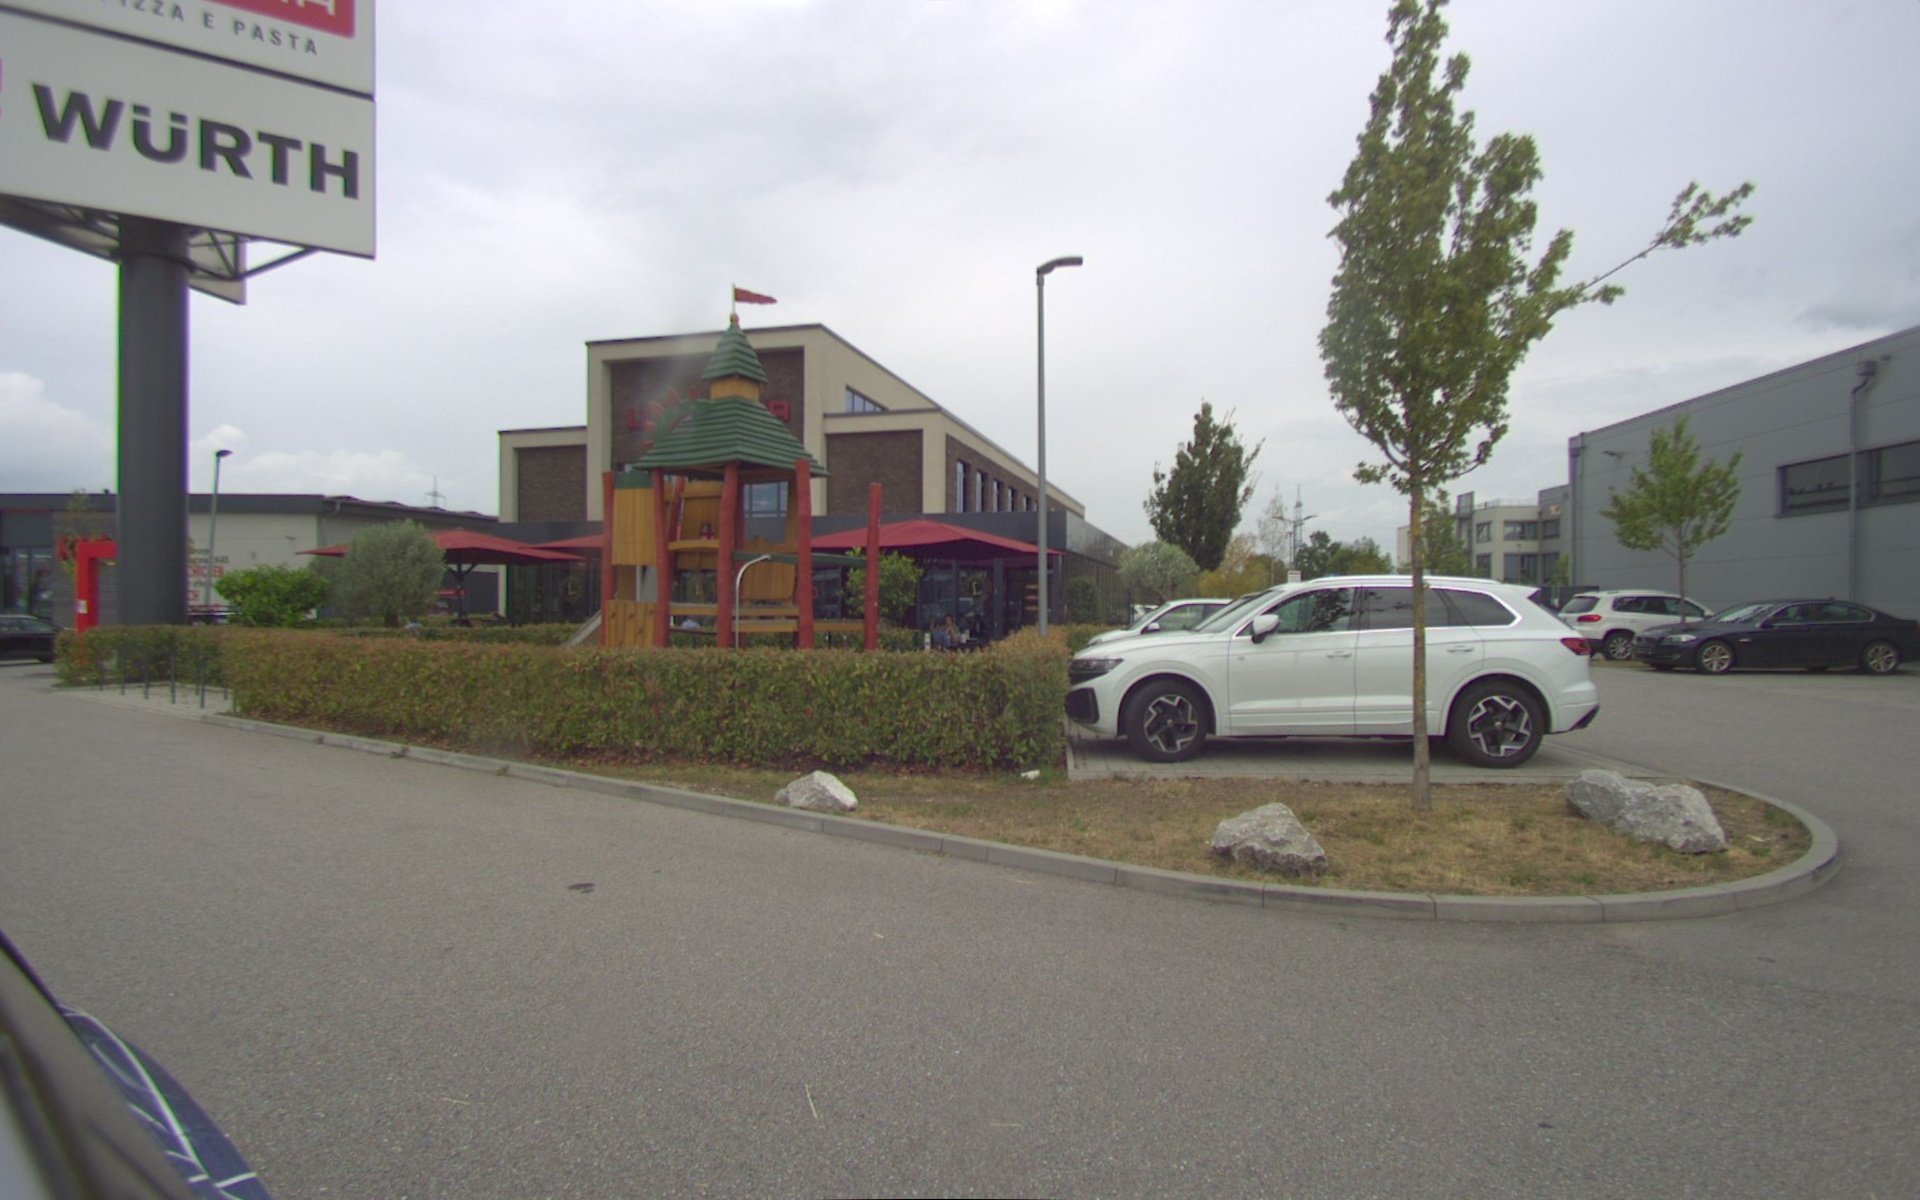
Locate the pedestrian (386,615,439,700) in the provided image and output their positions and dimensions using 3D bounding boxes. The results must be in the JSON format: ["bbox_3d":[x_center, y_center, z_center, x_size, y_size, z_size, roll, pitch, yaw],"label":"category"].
[{"bbox_3d":[-11.616,1.198,21.480,0.741,1.761,0.695,-1,-3,35],"label":"pedestrian"}]

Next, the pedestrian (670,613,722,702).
[{"bbox_3d":[-5.400,1.162,20.702,0.703,1.761,0.733,-1,-3,39],"label":"pedestrian"}]

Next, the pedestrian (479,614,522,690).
[{"bbox_3d":[-10.948,1.235,24.115,0.693,1.761,0.743,0,-2,-4],"label":"pedestrian"}]

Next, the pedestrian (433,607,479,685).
[{"bbox_3d":[-11.585,1.047,23.285,0.693,1.761,0.743,0,-2,-4],"label":"pedestrian"}]

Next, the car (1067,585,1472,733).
[{"bbox_3d":[3.629,0.697,12.681,4.524,1.663,1.995,0,-2,8],"label":"car"}]

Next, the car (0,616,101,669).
[{"bbox_3d":[-29.204,1.294,31.059,1.726,1.540,4.102,0,0,16],"label":"car"}]

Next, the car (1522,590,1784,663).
[{"bbox_3d":[16.384,0.634,24.154,4.744,1.651,1.997,0,-2,5],"label":"car"}]

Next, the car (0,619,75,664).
[{"bbox_3d":[-33.405,1.434,34.730,1.982,1.497,4.157,-1,-1,16],"label":"car"}]

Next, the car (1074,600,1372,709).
[{"bbox_3d":[4.168,0.863,16.780,4.524,1.663,1.995,0,-2,8],"label":"car"}]

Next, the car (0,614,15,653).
[{"bbox_3d":[-37.953,1.345,37.511,1.743,1.498,3.919,-1,1,16],"label":"car"}]

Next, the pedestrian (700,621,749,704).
[{"bbox_3d":[-5.092,1.332,21.889,0.703,1.761,0.733,-1,-3,39],"label":"pedestrian"}]

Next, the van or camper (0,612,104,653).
[{"bbox_3d":[-66.635,2.372,73.466,6.460,2.721,2.179,-1,-1,-27],"label":"van or camper"}]

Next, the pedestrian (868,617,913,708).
[{"bbox_3d":[-1.378,1.232,20.125,0.697,1.761,0.740,0,-2,13],"label":"pedestrian"}]

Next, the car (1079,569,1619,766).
[{"bbox_3d":[3.447,0.601,9.882,4.524,1.663,1.995,0,-2,8],"label":"car"}]

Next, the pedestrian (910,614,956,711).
[{"bbox_3d":[-0.495,1.156,18.930,0.697,1.761,0.740,0,-2,13],"label":"pedestrian"}]

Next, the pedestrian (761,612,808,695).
[{"bbox_3d":[-3.840,1.164,22.183,0.703,1.761,0.733,-1,-3,39],"label":"pedestrian"}]

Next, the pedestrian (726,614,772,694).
[{"bbox_3d":[-4.769,1.211,22.865,0.703,1.761,0.733,-1,-3,39],"label":"pedestrian"}]

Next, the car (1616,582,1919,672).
[{"bbox_3d":[15.936,0.501,19.818,4.746,1.651,1.996,0,-1,6],"label":"car"}]
